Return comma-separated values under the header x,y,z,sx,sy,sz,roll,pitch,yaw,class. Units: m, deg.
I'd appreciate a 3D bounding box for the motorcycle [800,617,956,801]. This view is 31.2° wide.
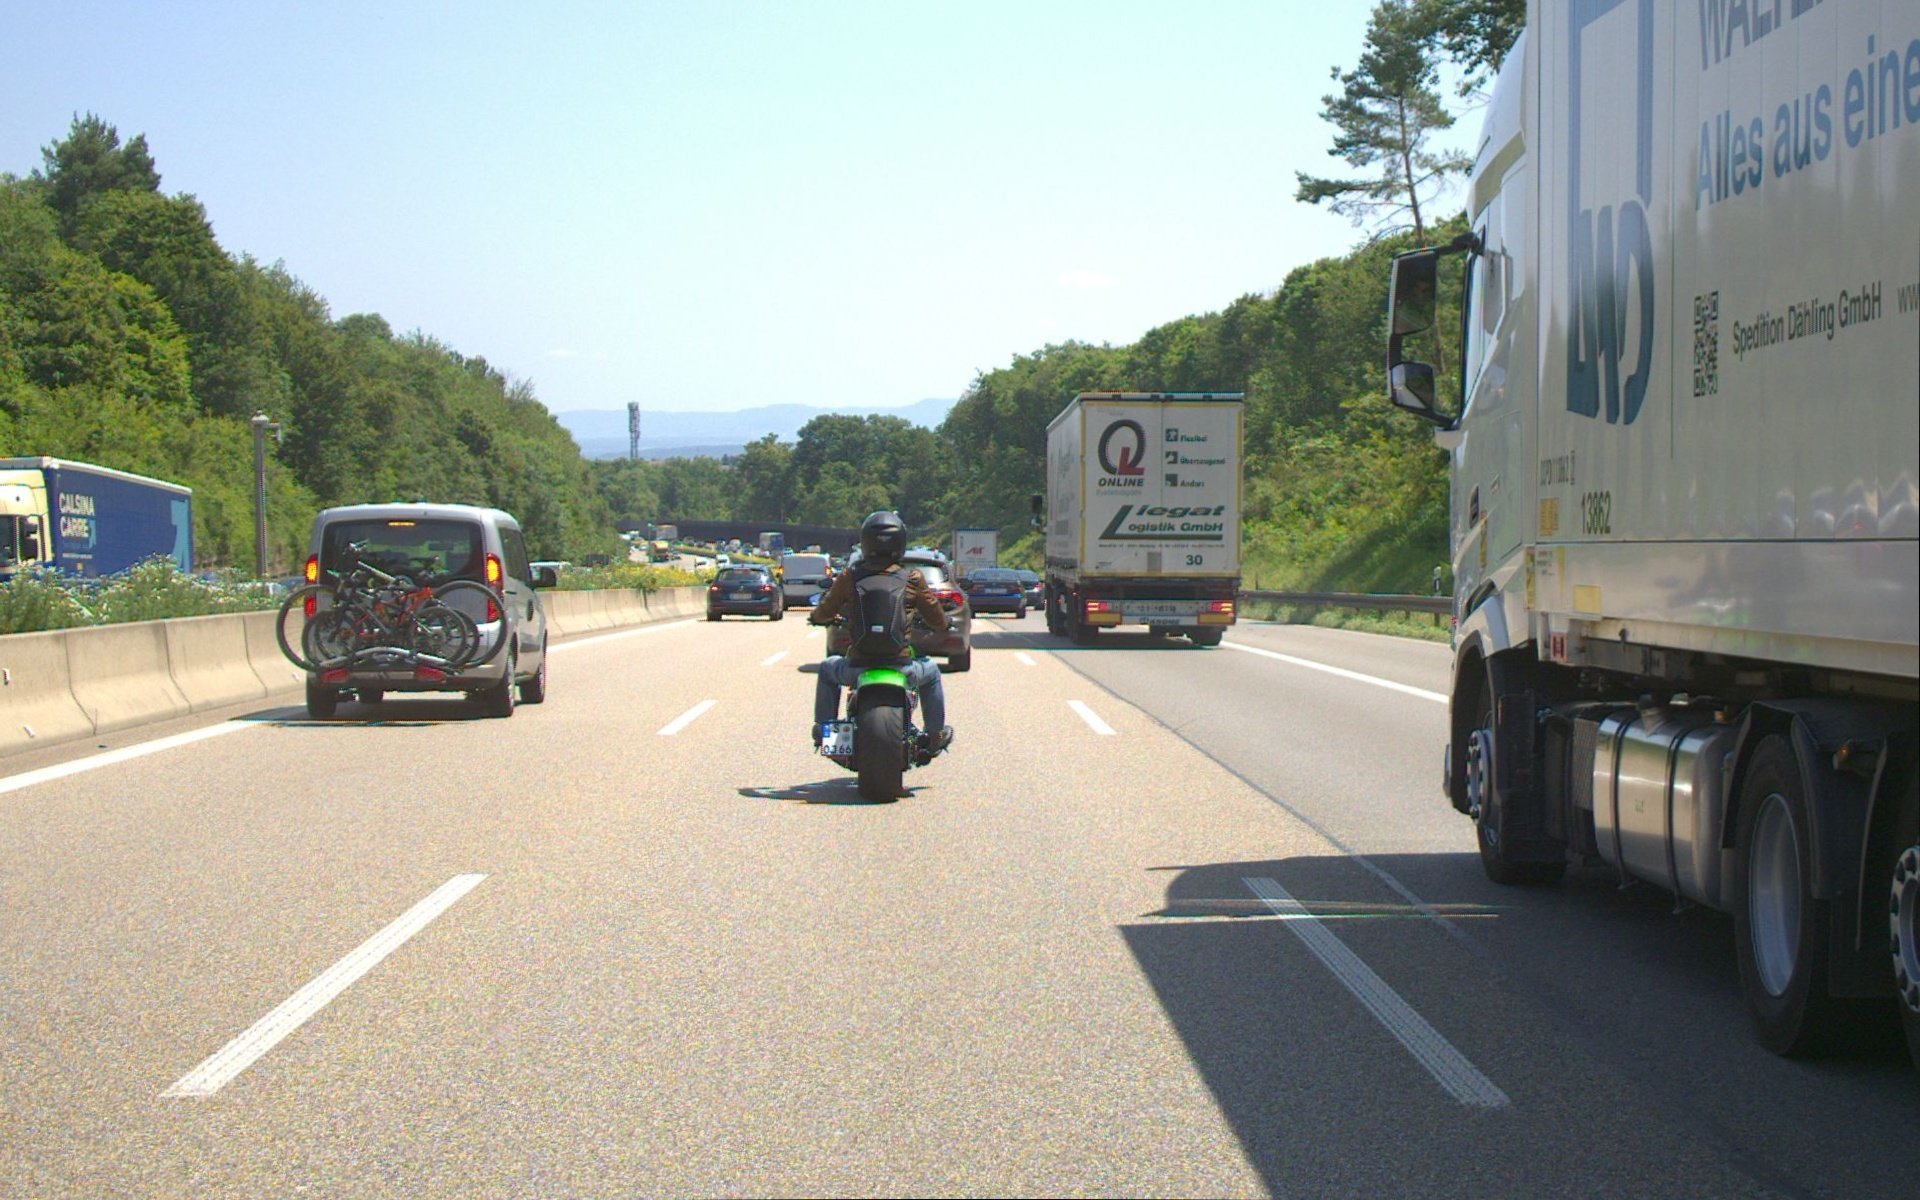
x,y,z,sx,sy,sz,roll,pitch,yaw,class
-0.459,0.611,20.245,0.862,0.978,2.131,0,1,0,motorcycle

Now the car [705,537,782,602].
x,y,z,sx,sy,sz,roll,pitch,yaw,class
-5.478,-0.800,87.478,1.757,1.538,4.395,1,2,-1,car

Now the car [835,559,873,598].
x,y,z,sx,sy,sz,roll,pitch,yaw,class
-5.286,-1.089,172.334,1.831,1.804,4.120,1,2,-1,car

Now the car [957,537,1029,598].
x,y,z,sx,sy,sz,roll,pitch,yaw,class
0.871,-0.908,93.921,1.831,1.553,4.120,1,2,-1,car

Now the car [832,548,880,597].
x,y,z,sx,sy,sz,roll,pitch,yaw,class
-4.071,-1.089,134.666,1.831,1.804,4.120,1,2,-1,car

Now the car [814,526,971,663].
x,y,z,sx,sy,sz,roll,pitch,yaw,class
-0.840,-0.114,43.025,1.845,1.552,4.440,1,2,-1,car

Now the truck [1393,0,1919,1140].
x,y,z,sx,sy,sz,roll,pitch,yaw,class
3.570,-0.805,11.257,2.680,4.045,10.627,1,1,-1,truck

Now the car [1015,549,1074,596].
x,y,z,sx,sy,sz,roll,pitch,yaw,class
2.889,-0.963,118.662,1.831,1.521,4.028,1,2,-1,car

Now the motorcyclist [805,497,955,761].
x,y,z,sx,sy,sz,roll,pitch,yaw,class
-0.459,0.158,20.152,0.856,1.510,0.914,0,1,0,motorcyclist

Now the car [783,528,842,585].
x,y,z,sx,sy,sz,roll,pitch,yaw,class
-4.897,-1.475,114.368,1.831,1.804,4.120,1,2,-1,car

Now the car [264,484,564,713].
x,y,z,sx,sy,sz,roll,pitch,yaw,class
-4.755,-0.059,30.689,1.898,1.841,5.483,1,1,-1,car

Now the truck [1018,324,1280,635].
x,y,z,sx,sy,sz,roll,pitch,yaw,class
3.066,-2.090,61.901,3.383,4.701,17.710,2,1,-1,truck

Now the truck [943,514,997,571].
x,y,z,sx,sy,sz,roll,pitch,yaw,class
0.583,-3.569,212.004,3.067,3.335,9.653,2,1,-1,truck

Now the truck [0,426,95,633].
x,y,z,sx,sy,sz,roll,pitch,yaw,class
-19.564,-1.435,69.569,2.680,4.017,5.932,0,1,-1,truck

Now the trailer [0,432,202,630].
x,y,z,sx,sy,sz,roll,pitch,yaw,class
-19.703,-1.584,76.706,2.680,4.001,14.190,0,1,-1,trailer
